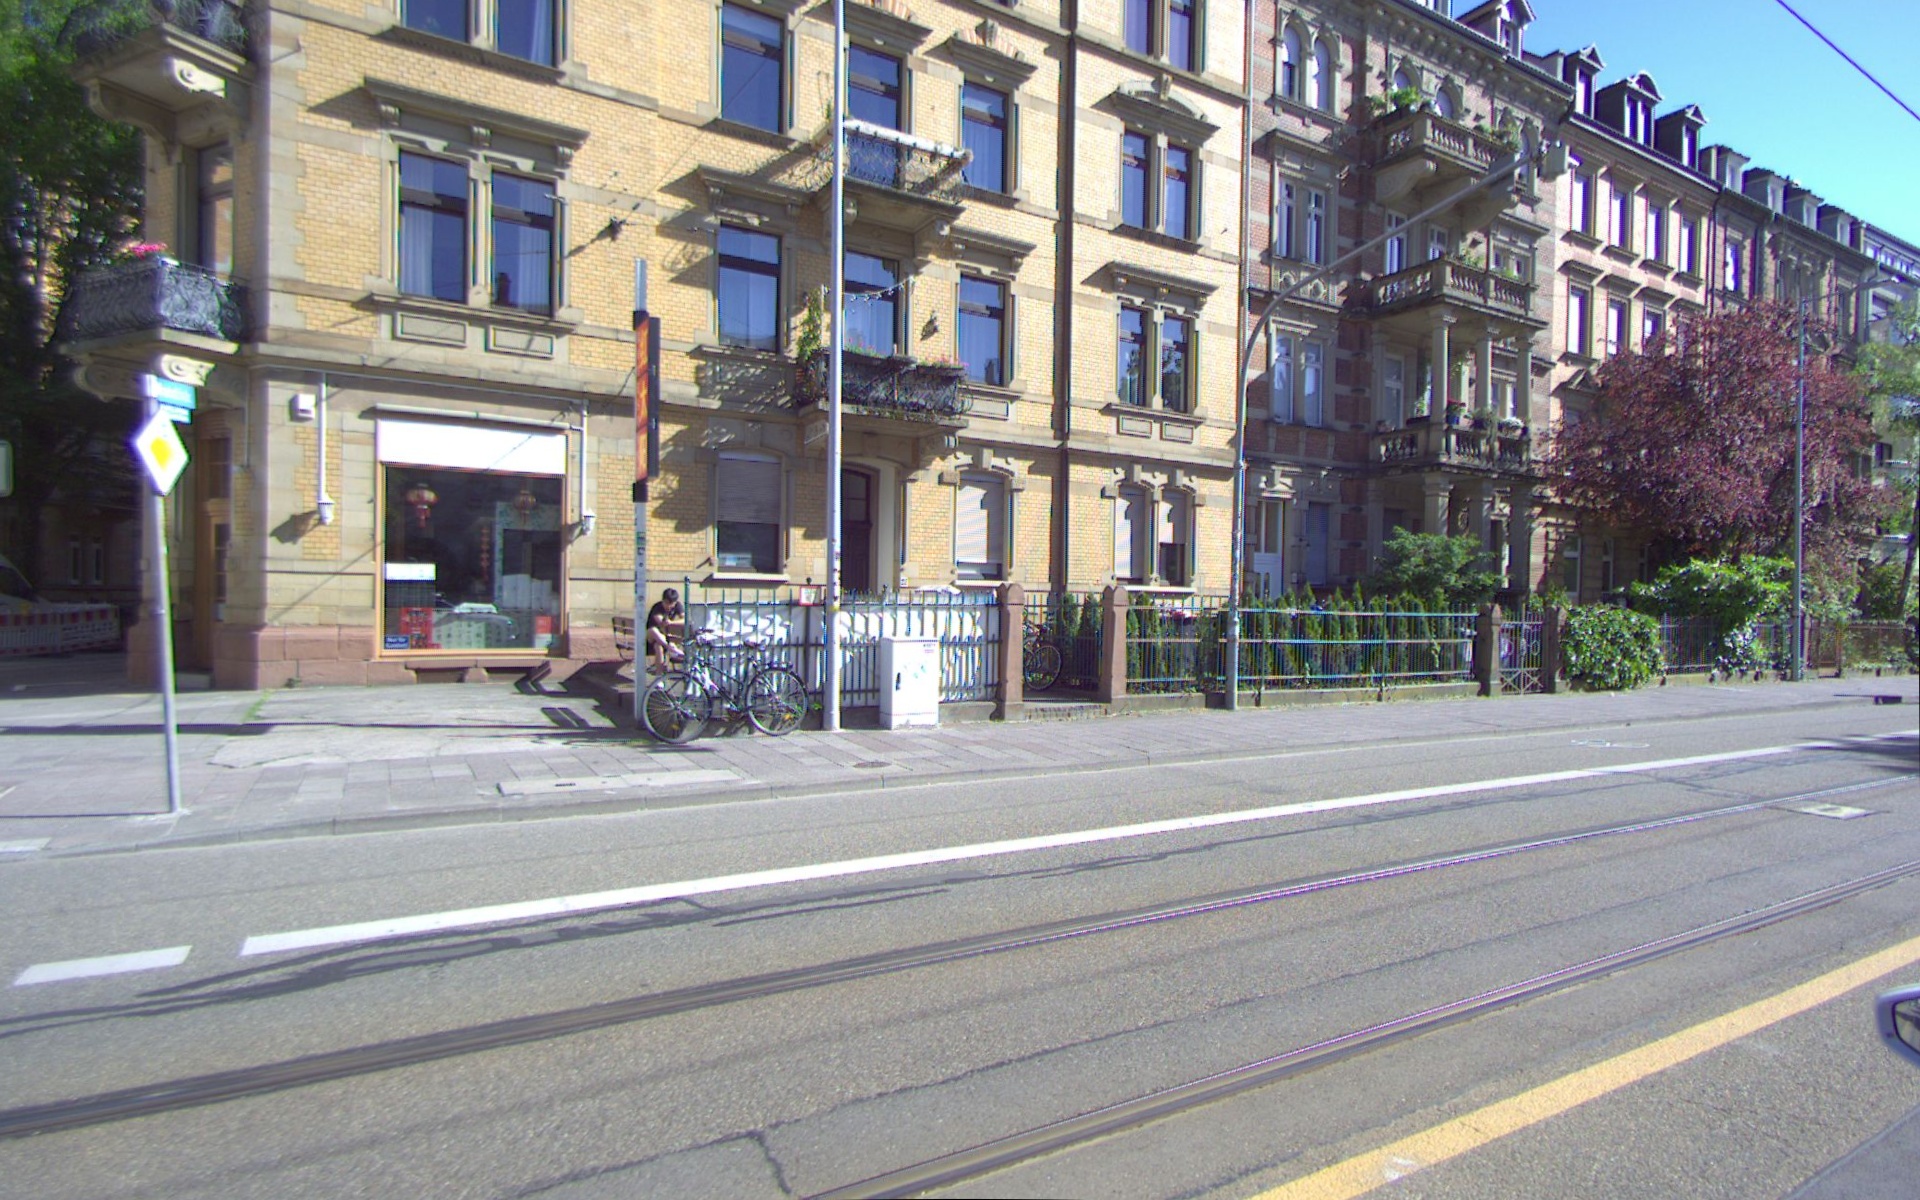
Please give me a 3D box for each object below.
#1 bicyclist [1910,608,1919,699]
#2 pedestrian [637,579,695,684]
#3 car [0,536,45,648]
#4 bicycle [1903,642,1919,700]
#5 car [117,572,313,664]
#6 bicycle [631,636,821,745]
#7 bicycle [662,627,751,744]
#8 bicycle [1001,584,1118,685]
[{"bbox_3d":[19.493,1.069,20.010,0.608,1.825,0.657,2,-2,-30],"label":"bicyclist"},{"bbox_3d":[-3.987,0.427,13.596,0.570,1.370,0.897,1,-2,-29],"label":"pedestrian"},{"bbox_3d":[-22.790,-0.196,21.696,1.962,2.536,4.632,4,1,-5],"label":"car"},{"bbox_3d":[19.661,1.415,20.117,1.698,1.127,0.688,1,-1,-31],"label":"bicycle"},{"bbox_3d":[-15.878,0.298,21.660,1.805,1.773,3.585,-2,2,-8],"label":"car"},{"bbox_3d":[-2.343,0.884,10.190,1.848,1.014,0.333,1,2,-31],"label":"bicycle"},{"bbox_3d":[-2.594,0.855,10.282,0.799,1.141,0.369,1,2,-31],"label":"bicycle"},{"bbox_3d":[1.426,0.472,14.702,0.609,1.338,1.748,1,2,-39],"label":"bicycle"}]
